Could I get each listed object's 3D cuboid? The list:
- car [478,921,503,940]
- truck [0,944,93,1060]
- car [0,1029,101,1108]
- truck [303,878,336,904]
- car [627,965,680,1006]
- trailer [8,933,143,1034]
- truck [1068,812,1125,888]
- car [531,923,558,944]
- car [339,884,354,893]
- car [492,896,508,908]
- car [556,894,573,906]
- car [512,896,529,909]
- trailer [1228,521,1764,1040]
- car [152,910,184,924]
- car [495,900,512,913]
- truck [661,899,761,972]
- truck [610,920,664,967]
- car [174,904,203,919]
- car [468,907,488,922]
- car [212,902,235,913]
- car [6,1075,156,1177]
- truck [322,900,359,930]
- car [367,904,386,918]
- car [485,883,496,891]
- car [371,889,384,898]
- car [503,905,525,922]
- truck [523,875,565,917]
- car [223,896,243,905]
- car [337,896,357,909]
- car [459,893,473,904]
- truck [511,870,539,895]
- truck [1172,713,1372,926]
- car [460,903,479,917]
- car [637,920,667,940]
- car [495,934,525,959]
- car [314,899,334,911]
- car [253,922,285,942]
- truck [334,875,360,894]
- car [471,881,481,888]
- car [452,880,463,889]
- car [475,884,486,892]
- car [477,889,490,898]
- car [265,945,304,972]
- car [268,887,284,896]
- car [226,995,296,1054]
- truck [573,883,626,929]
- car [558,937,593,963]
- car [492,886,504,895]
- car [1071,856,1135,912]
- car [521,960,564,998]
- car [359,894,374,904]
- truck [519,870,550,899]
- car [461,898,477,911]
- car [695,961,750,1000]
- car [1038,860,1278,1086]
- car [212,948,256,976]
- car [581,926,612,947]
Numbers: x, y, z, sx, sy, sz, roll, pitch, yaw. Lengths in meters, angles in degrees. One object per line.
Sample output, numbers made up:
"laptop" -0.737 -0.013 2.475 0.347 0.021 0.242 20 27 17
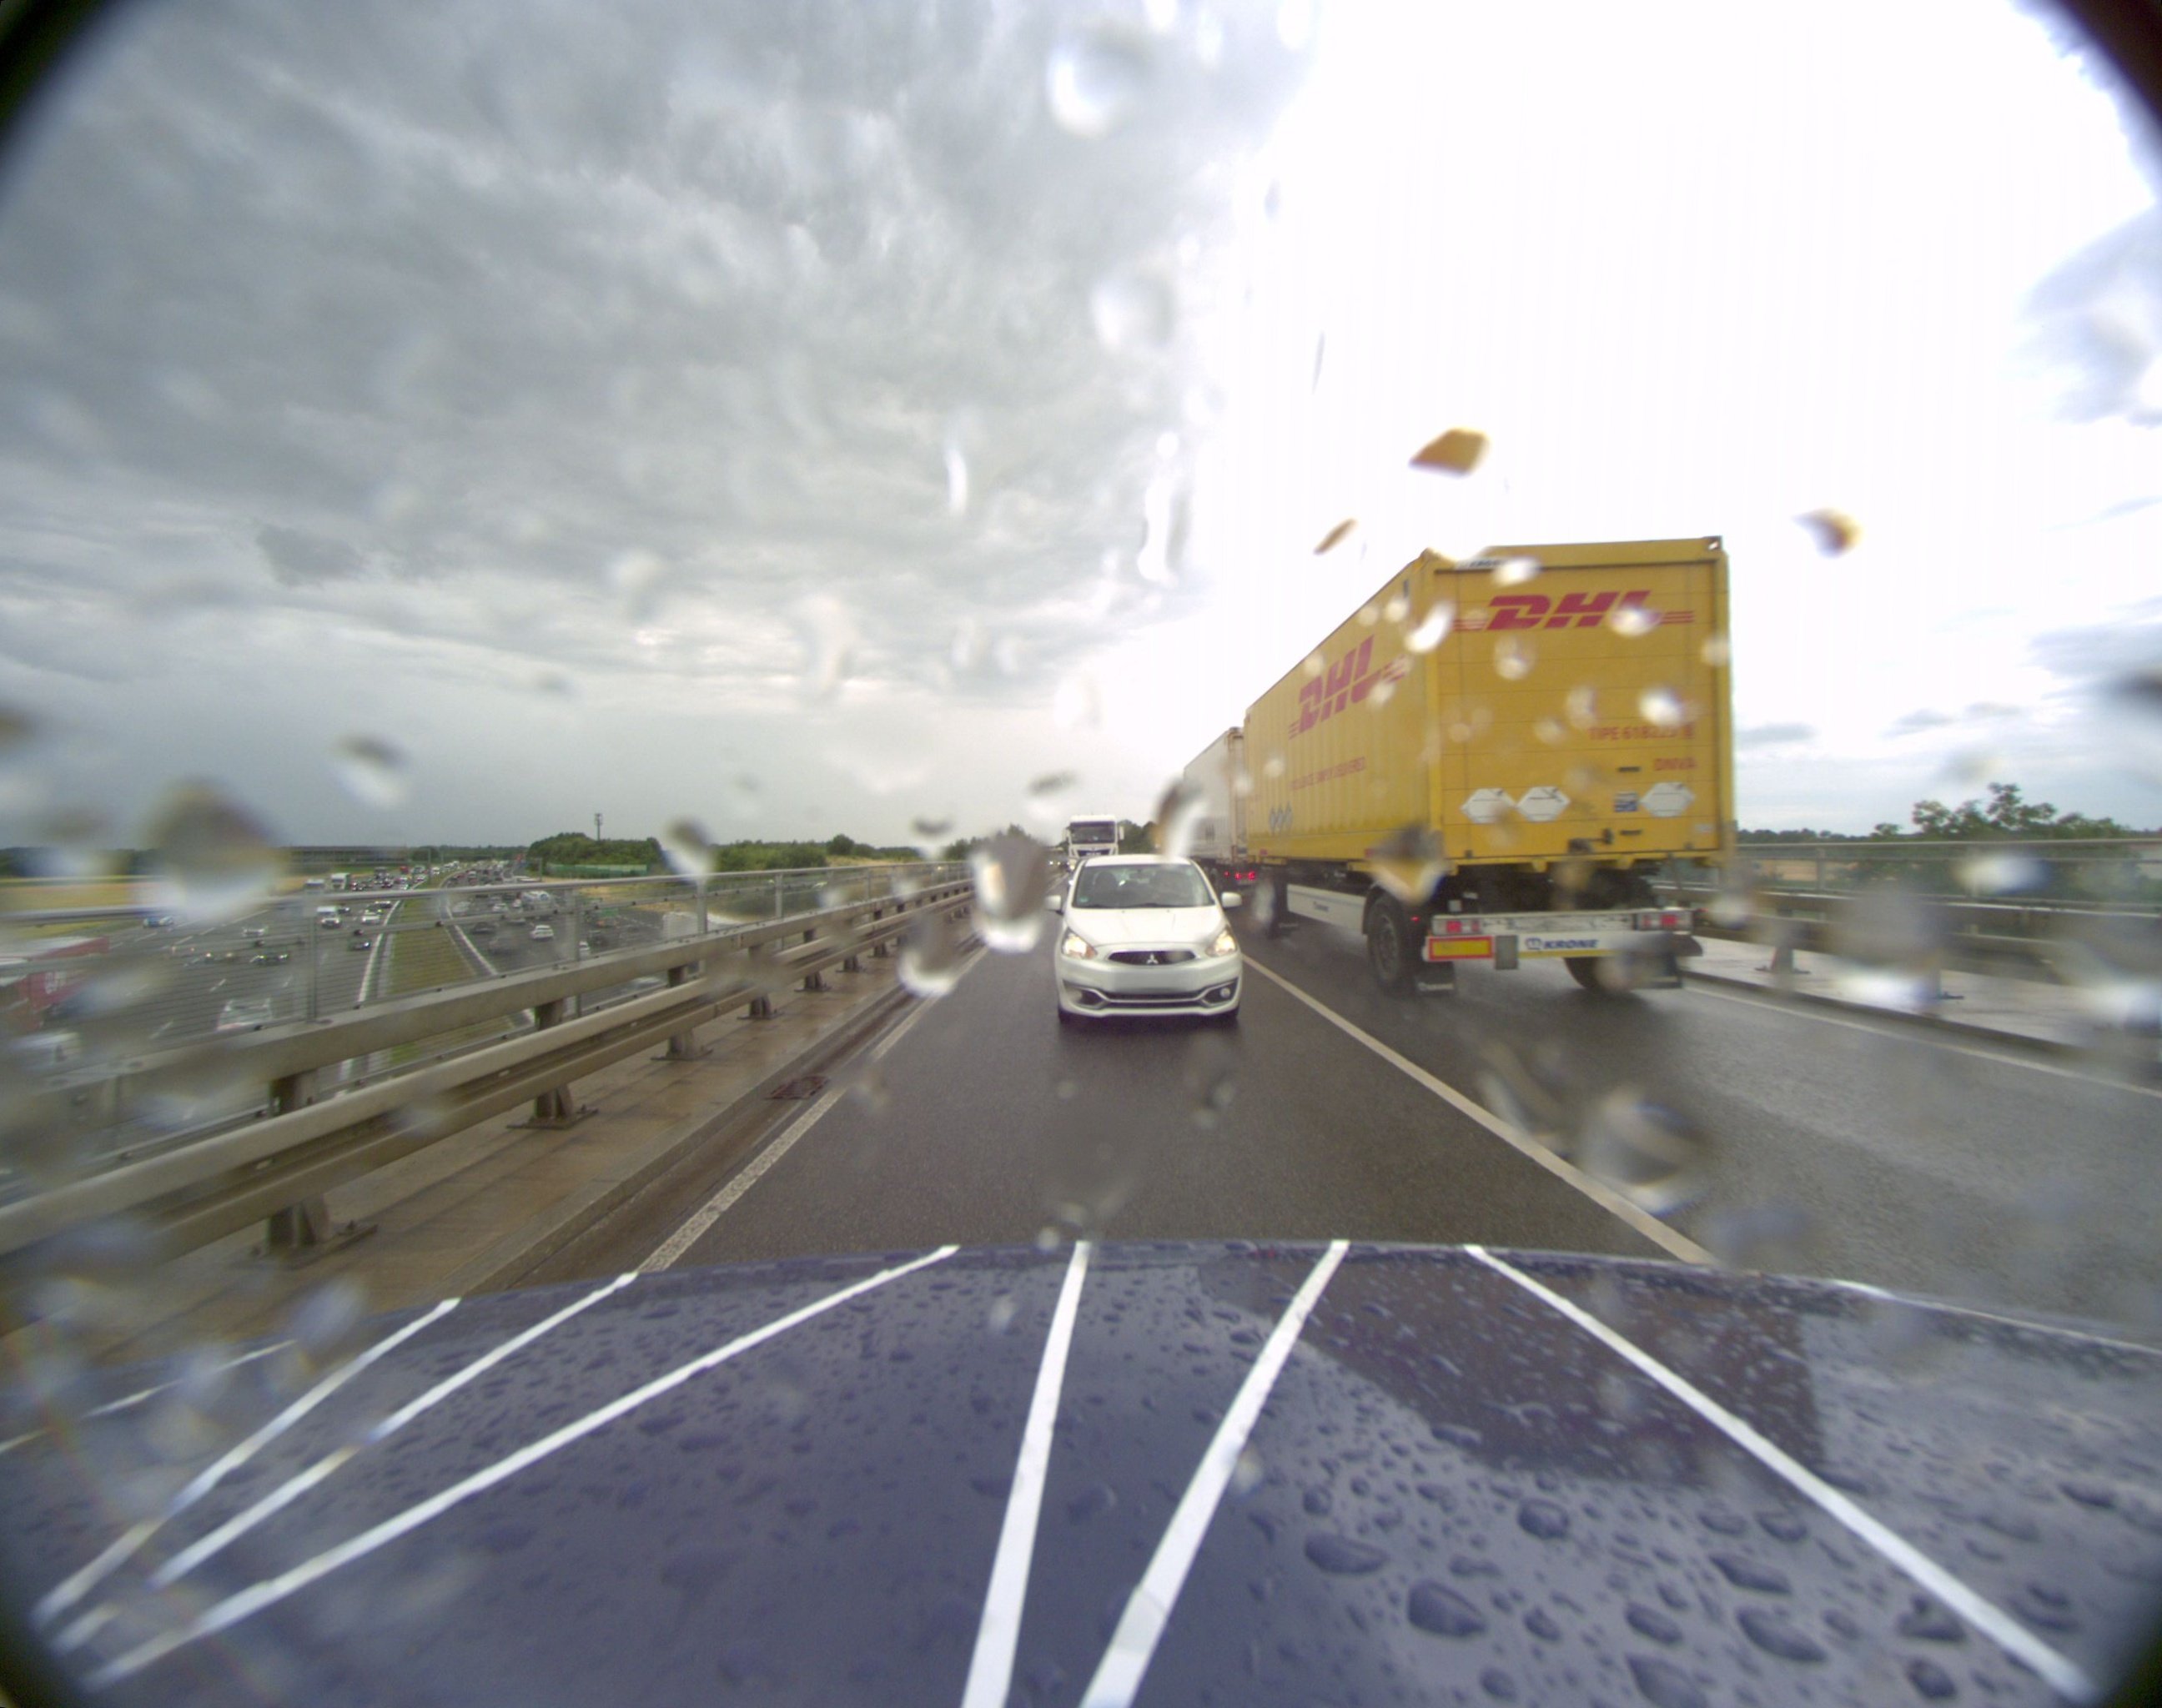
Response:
"car" -66.445 8.571 85.469 1.860 1.659 4.711 -3 1 -40
"truck" -53.630 7.307 38.235 2.691 4.600 9.727 -3 1 -41
"car" -40.205 8.236 29.450 1.818 1.873 4.711 -3 1 -42
"truck" -157.883 7.497 157.668 2.799 4.872 12.723 -3 1 -37
"car" -25.837 7.902 45.895 1.860 1.659 4.711 -3 1 -40
"trailer" -60.025 7.476 45.650 2.691 4.602 9.882 -3 1 -41
"truck" 0.680 -0.385 40.698 2.631 3.537 8.473 -2 3 -1
"car" -57.150 8.430 80.868 1.860 1.659 4.711 -3 1 -40
"car" -153.928 7.193 159.290 1.860 1.659 4.711 -3 1 -40
"car" -99.984 8.275 130.639 1.860 1.764 4.711 -3 1 -40
"car" -89.235 7.871 131.137 1.860 1.764 4.711 -3 1 -40
"car" -93.554 8.045 126.778 1.860 1.764 4.711 -3 1 -40
"trailer" 4.141 -0.605 10.311 2.689 4.051 8.484 -2 1 1
"car" -114.861 7.903 95.677 1.818 1.428 4.711 -3 1 -42
"car" -88.714 8.058 116.693 1.860 1.764 4.711 -3 1 -40
"truck" -30.800 6.381 62.621 3.610 4.511 15.588 -3 1 -40
"truck" -37.259 7.350 63.541 2.216 2.949 9.283 -3 1 -40
"car" -123.391 7.969 105.084 1.860 1.659 4.711 -3 1 -40
"car" -80.623 8.076 101.520 1.860 1.659 4.711 -3 1 -40
"car" -138.749 8.699 123.018 1.818 1.428 4.711 -3 1 -42
"car" -30.288 8.139 23.192 1.818 1.428 4.711 -3 1 -42
"truck" -94.701 7.746 97.291 2.601 3.161 8.373 -3 1 -40
"car" -106.776 8.633 115.191 1.860 1.659 4.711 -3 1 -40
"car" -147.722 8.276 189.997 1.860 1.764 4.711 -3 1 -40
"car" -154.564 8.740 166.957 1.860 1.659 4.711 -3 1 -40
"car" -72.346 7.555 96.890 1.860 1.764 4.711 -3 1 -40
"truck" -78.685 5.983 111.140 3.302 5.411 15.587 -3 1 -41
"car" -147.822 8.092 132.471 1.818 1.428 4.711 -3 1 -42
"car" -112.584 7.456 116.610 1.818 1.659 4.711 -3 1 -41
"car" -110.772 7.957 136.854 1.860 1.764 4.711 -3 1 -40
"truck" -126.453 6.412 172.691 3.499 5.322 15.587 -3 1 -41
"truck" 4.286 -0.703 19.638 2.689 3.994 10.054 -2 1 1
"car" -88.817 8.127 110.325 1.860 1.764 4.711 -3 1 -40
"car" -45.756 8.027 80.905 1.860 1.659 4.712 -3 1 -40
"car" -51.584 8.312 68.610 1.860 1.659 4.711 -3 1 -40
"car" -127.452 8.631 127.965 1.860 1.659 4.711 -3 1 -40
"car" -89.333 8.568 83.617 1.818 1.659 4.711 -3 1 -41
"truck" -184.020 7.577 190.574 2.799 4.591 12.723 -3 1 -37
"car" -157.351 7.948 197.568 1.860 1.764 4.711 -3 1 -40
"car" -139.066 6.816 169.474 1.860 1.764 4.711 -3 1 -40
"car" -143.196 8.176 181.139 1.860 1.764 4.711 -3 1 -40
"car" -124.357 8.210 158.080 1.860 1.764 4.711 -3 1 -40
"car" -68.018 8.924 64.945 1.818 1.659 4.711 -3 1 -41
"car" -160.279 7.460 151.305 1.818 1.428 4.711 -3 1 -42
"car" -40.189 8.285 37.346 1.818 1.836 4.711 -3 1 -42
"truck" -62.695 6.590 98.582 3.302 5.135 15.587 -3 1 -41
"car" -43.650 8.215 65.555 1.860 1.659 4.711 -3 1 -40
"car" -133.750 8.295 174.284 1.860 1.764 4.711 -3 1 -40
"car" 0.608 0.826 22.526 1.675 1.367 4.129 -2 1 0
"car" -35.320 8.137 49.794 1.860 1.659 4.711 -3 1 -40
"car" -143.459 9.004 152.563 1.860 1.659 4.711 -3 1 -40
"truck" -110.285 6.025 153.143 3.499 5.322 15.587 -3 1 -41
"car" -101.840 8.383 126.471 1.860 1.764 4.711 -3 1 -40
"car" -22.312 7.812 47.227 1.860 1.659 4.711 -3 1 -40
"car" 0.566 0.878 7.531 1.675 1.476 4.129 -2 1 0
"car" -71.199 9.042 63.959 1.818 1.659 4.711 -3 1 -41
"car" -48.085 8.144 75.345 1.860 1.659 4.711 -3 1 -40
